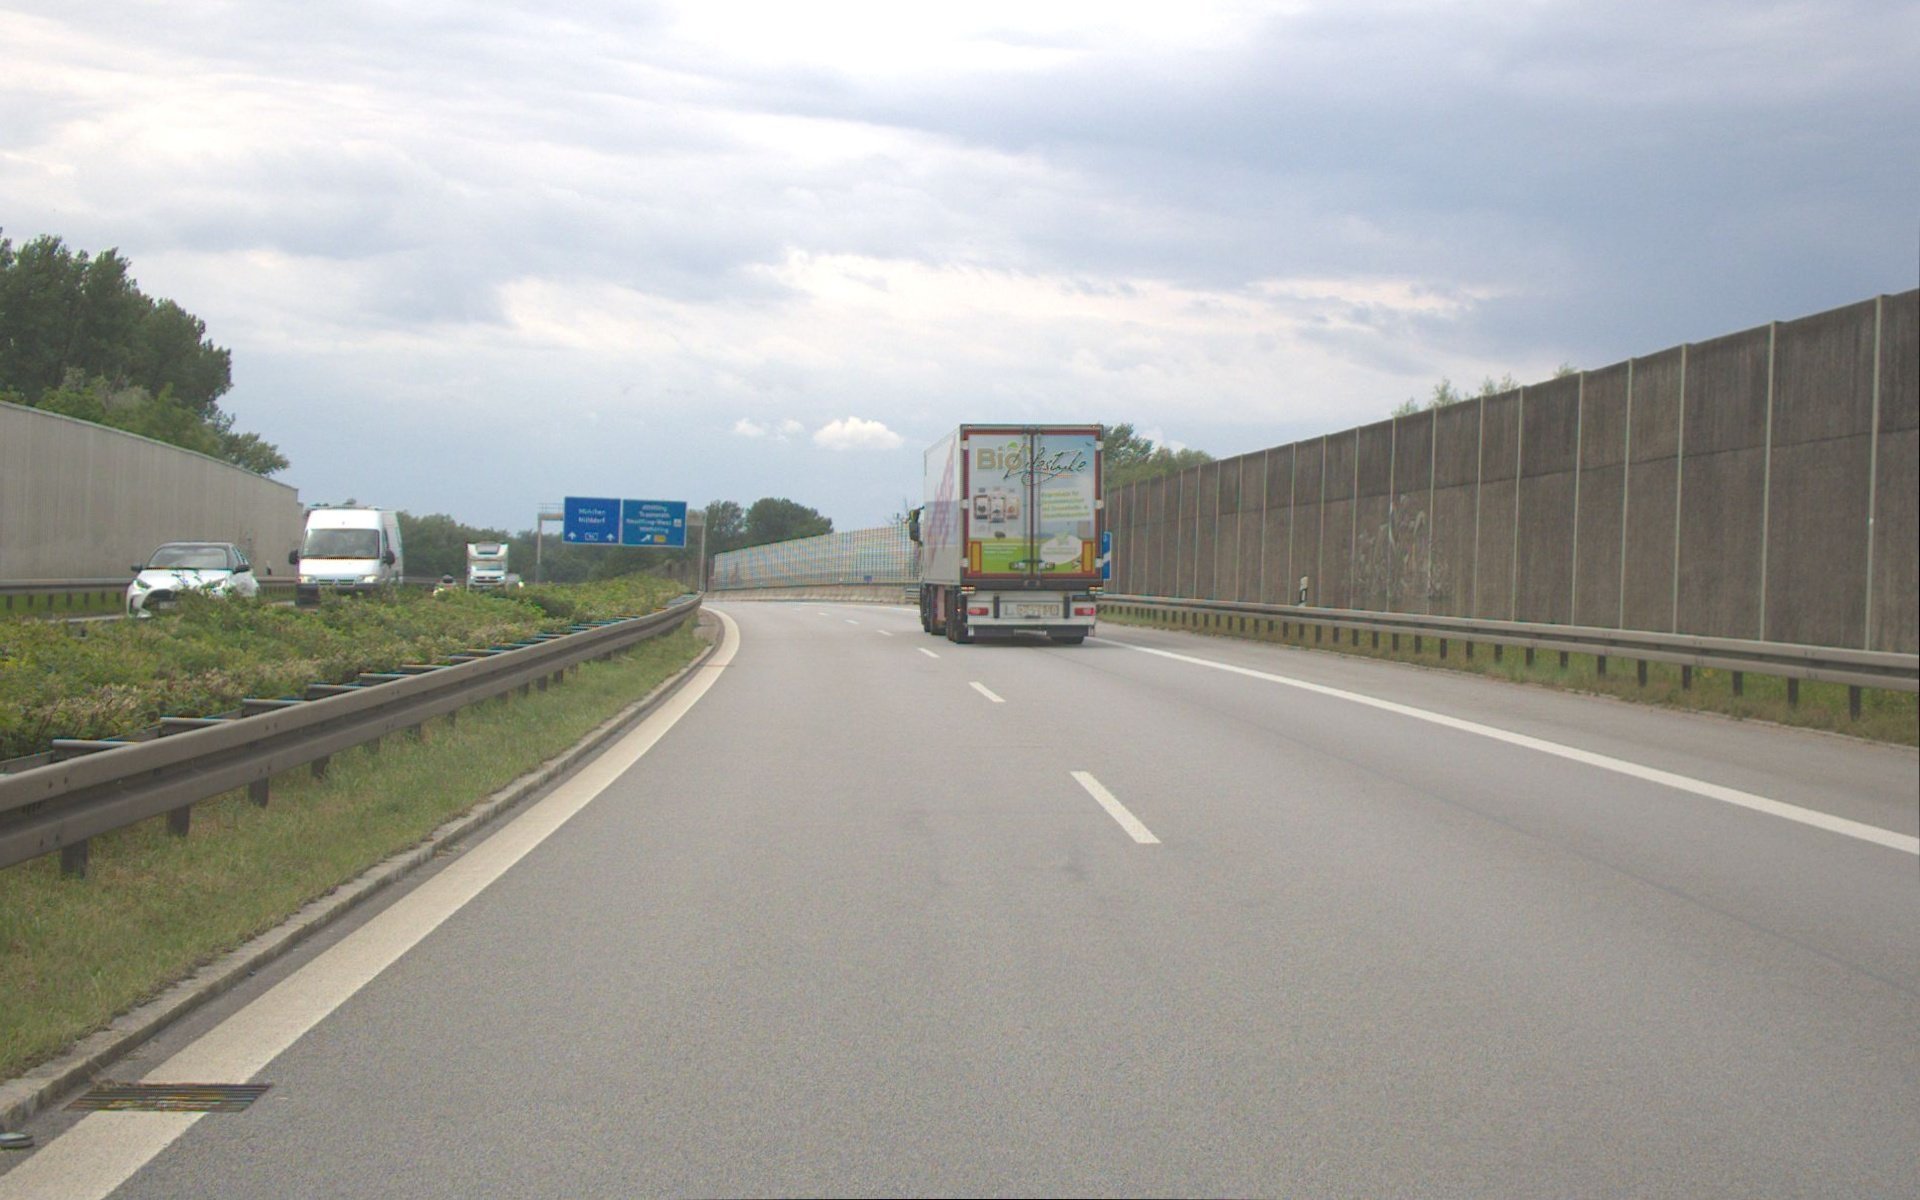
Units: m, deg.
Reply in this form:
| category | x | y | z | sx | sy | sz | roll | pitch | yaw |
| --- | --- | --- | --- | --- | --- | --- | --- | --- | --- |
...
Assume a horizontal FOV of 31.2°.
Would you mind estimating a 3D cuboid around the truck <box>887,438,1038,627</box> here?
| category | x | y | z | sx | sy | sz | roll | pitch | yaw |
| --- | --- | --- | --- | --- | --- | --- | --- | --- | --- |
| truck | -0.004 | -1.432 | 74.876 | 2.755 | 3.946 | 5.678 | 0 | 0 | -5 |

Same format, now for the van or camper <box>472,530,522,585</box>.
| category | x | y | z | sx | sy | sz | roll | pitch | yaw |
| --- | --- | --- | --- | --- | --- | --- | --- | --- | --- |
| van or camper | -23.958 | -2.211 | 178.077 | 2.254 | 2.769 | 5.756 | 1 | 0 | -5 |

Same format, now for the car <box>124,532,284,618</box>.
| category | x | y | z | sx | sy | sz | roll | pitch | yaw |
| --- | --- | --- | --- | --- | --- | --- | --- | --- | --- |
| car | -12.766 | -0.448 | 58.296 | 1.864 | 1.398 | 4.500 | 0 | 1 | -2 |

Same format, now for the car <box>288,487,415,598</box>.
| category | x | y | z | sx | sy | sz | roll | pitch | yaw |
| --- | --- | --- | --- | --- | --- | --- | --- | --- | --- |
| car | -13.882 | -1.309 | 78.757 | 2.111 | 2.447 | 5.684 | 0 | 1 | -2 |

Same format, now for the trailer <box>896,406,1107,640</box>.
| category | x | y | z | sx | sy | sz | roll | pitch | yaw |
| --- | --- | --- | --- | --- | --- | --- | --- | --- | --- |
| trailer | 0.616 | -1.412 | 68.481 | 2.792 | 4.160 | 14.105 | 0 | 0 | -5 |
